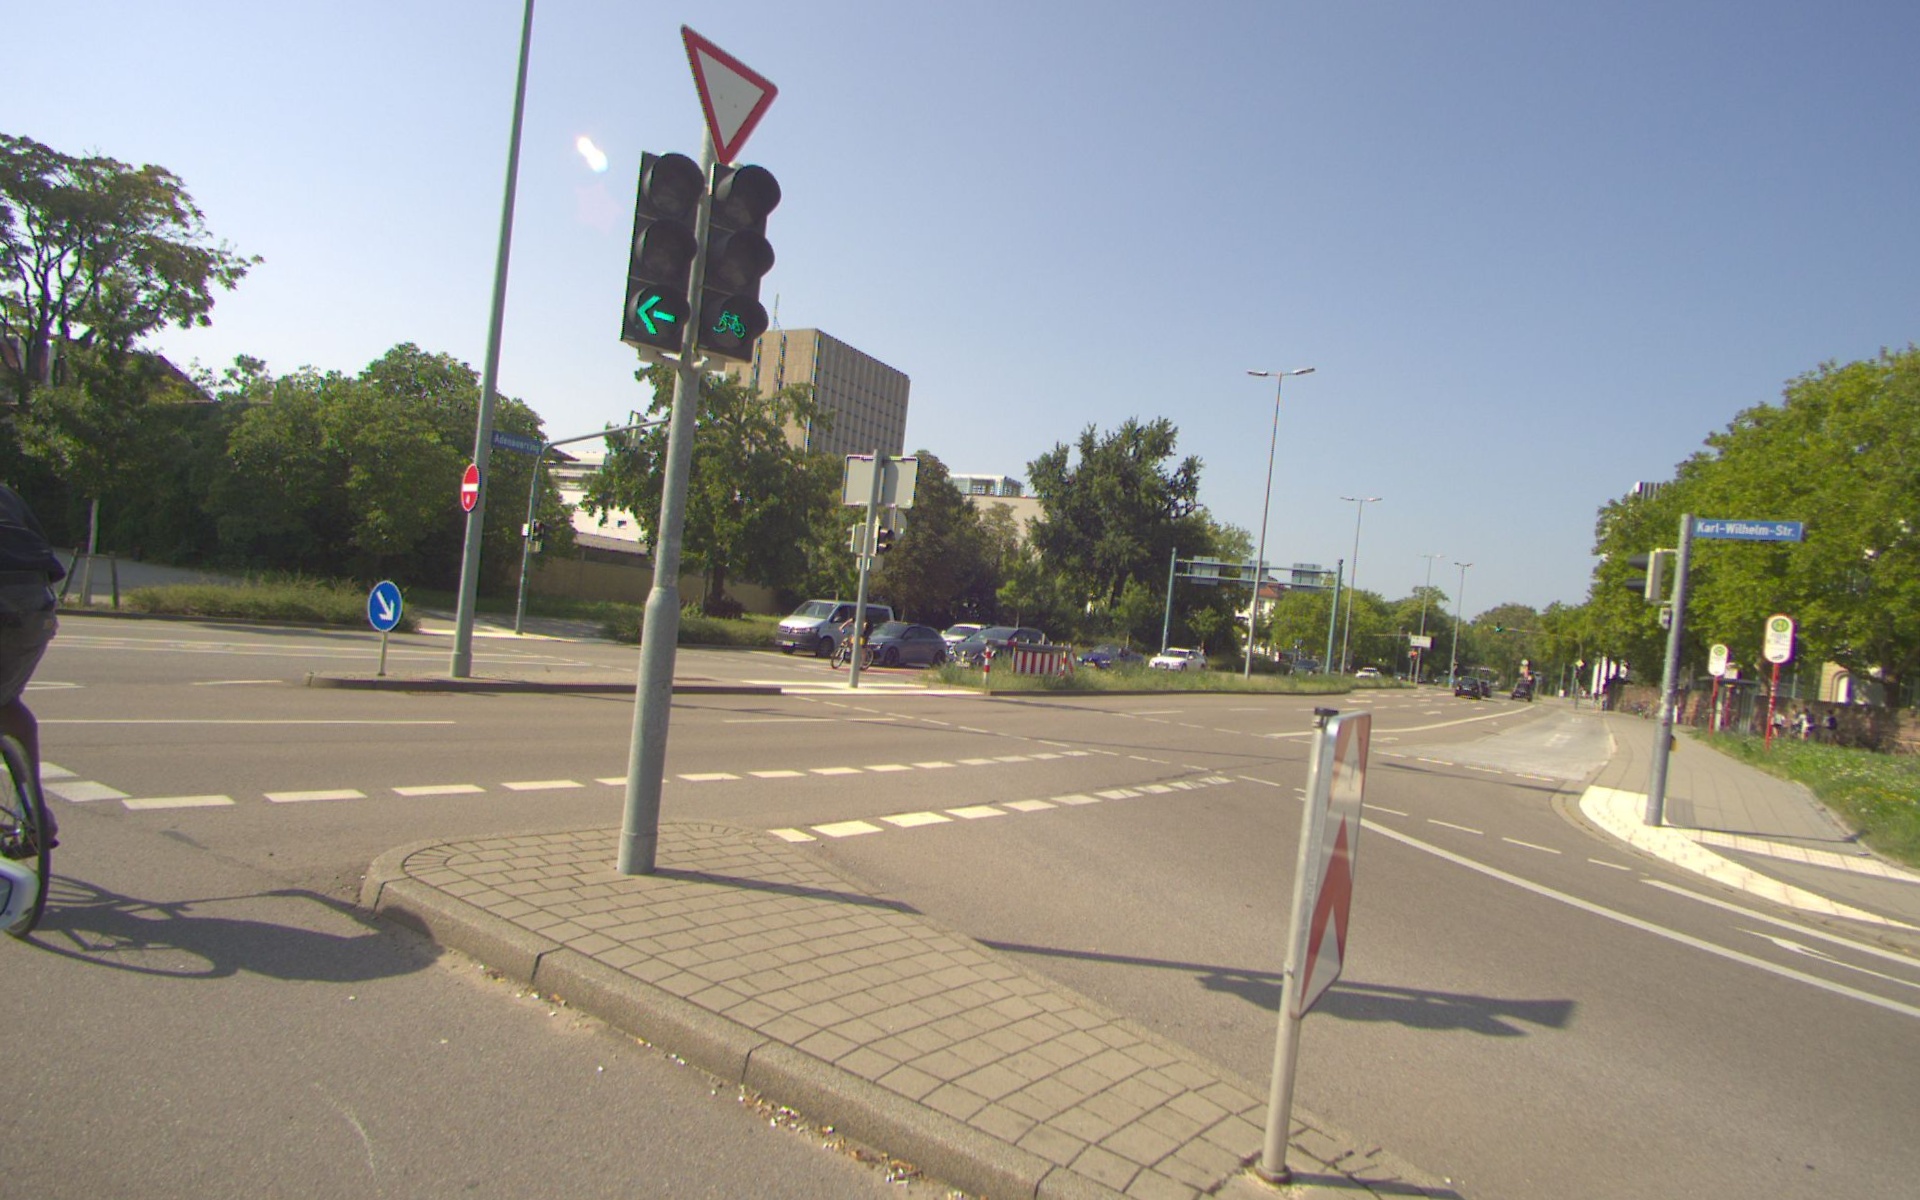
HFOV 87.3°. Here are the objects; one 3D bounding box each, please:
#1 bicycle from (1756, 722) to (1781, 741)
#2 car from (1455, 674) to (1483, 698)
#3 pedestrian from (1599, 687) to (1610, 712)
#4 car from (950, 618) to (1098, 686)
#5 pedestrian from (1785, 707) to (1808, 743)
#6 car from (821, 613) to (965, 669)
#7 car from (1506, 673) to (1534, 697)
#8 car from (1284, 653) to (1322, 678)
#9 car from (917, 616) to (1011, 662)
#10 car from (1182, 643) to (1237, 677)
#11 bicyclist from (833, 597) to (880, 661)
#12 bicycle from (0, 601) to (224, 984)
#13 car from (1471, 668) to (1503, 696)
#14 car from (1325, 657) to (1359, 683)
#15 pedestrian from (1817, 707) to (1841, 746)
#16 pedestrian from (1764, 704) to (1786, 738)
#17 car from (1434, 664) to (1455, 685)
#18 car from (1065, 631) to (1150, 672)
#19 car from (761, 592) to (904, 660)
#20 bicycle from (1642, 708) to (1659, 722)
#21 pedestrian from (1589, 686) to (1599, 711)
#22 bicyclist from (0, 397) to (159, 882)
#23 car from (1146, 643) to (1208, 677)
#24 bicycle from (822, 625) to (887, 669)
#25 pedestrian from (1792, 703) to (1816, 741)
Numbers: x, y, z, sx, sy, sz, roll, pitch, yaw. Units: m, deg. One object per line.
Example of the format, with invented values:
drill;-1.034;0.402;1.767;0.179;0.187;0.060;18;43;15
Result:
bicycle;42.503;6.900;52.891;0.426;0.845;1.550;6;0;17
car;39.295;6.612;77.671;1.682;1.593;3.994;6;-1;28
pedestrian;47.174;7.284;73.640;0.477;1.759;0.505;7;-2;29
car;1.921;1.521;28.663;1.826;1.597;4.697;4;-2;37
pedestrian;40.501;6.030;48.714;0.474;1.670;0.595;7;-2;13
car;-2.073;1.364;32.792;1.882;1.418;4.904;6;-1;36
car;56.420;8.583;101.443;1.885;2.036;4.003;7;-3;24
car;26.601;5.083;77.913;1.900;1.680;4.288;6;-1;30
car;0.218;1.639;41.250;1.783;1.524;3.955;6;-1;36
car;14.698;3.524;59.020;1.900;1.680;4.288;6;-1;30
bicyclist;-2.833;0.809;27.663;0.737;1.656;0.873;7;0;34
bicycle;-3.622;0.540;3.547;2.113;0.988;0.773;6;0;29
car;44.511;6.976;85.093;1.885;2.036;4.003;7;-3;24
car;27.731;5.096;72.994;1.682;1.593;3.994;6;-1;28
pedestrian;39.725;5.773;45.984;0.474;1.670;0.595;7;-2;13
pedestrian;39.583;5.862;48.845;0.525;1.589;0.503;7;-2;11
car;56.637;8.740;117.629;1.885;2.036;4.003;7;-3;24
car;6.818;2.385;46.170;1.969;1.524;4.282;6;-1;36
car;-4.256;0.941;34.496;1.819;1.898;4.957;6;-1;36
bicycle;47.912;7.970;69.821;0.426;0.845;1.550;6;0;18
pedestrian;46.644;7.230;74.013;0.477;1.759;0.505;7;-2;29
bicyclist;-3.580;0.097;3.532;0.973;1.598;0.773;6;0;28
car;11.569;3.204;53.511;1.900;1.524;4.288;6;-1;30
bicycle;-2.885;1.306;27.678;0.758;1.066;1.770;7;0;34
pedestrian;38.757;5.603;46.203;0.510;1.670;0.595;7;-2;13
